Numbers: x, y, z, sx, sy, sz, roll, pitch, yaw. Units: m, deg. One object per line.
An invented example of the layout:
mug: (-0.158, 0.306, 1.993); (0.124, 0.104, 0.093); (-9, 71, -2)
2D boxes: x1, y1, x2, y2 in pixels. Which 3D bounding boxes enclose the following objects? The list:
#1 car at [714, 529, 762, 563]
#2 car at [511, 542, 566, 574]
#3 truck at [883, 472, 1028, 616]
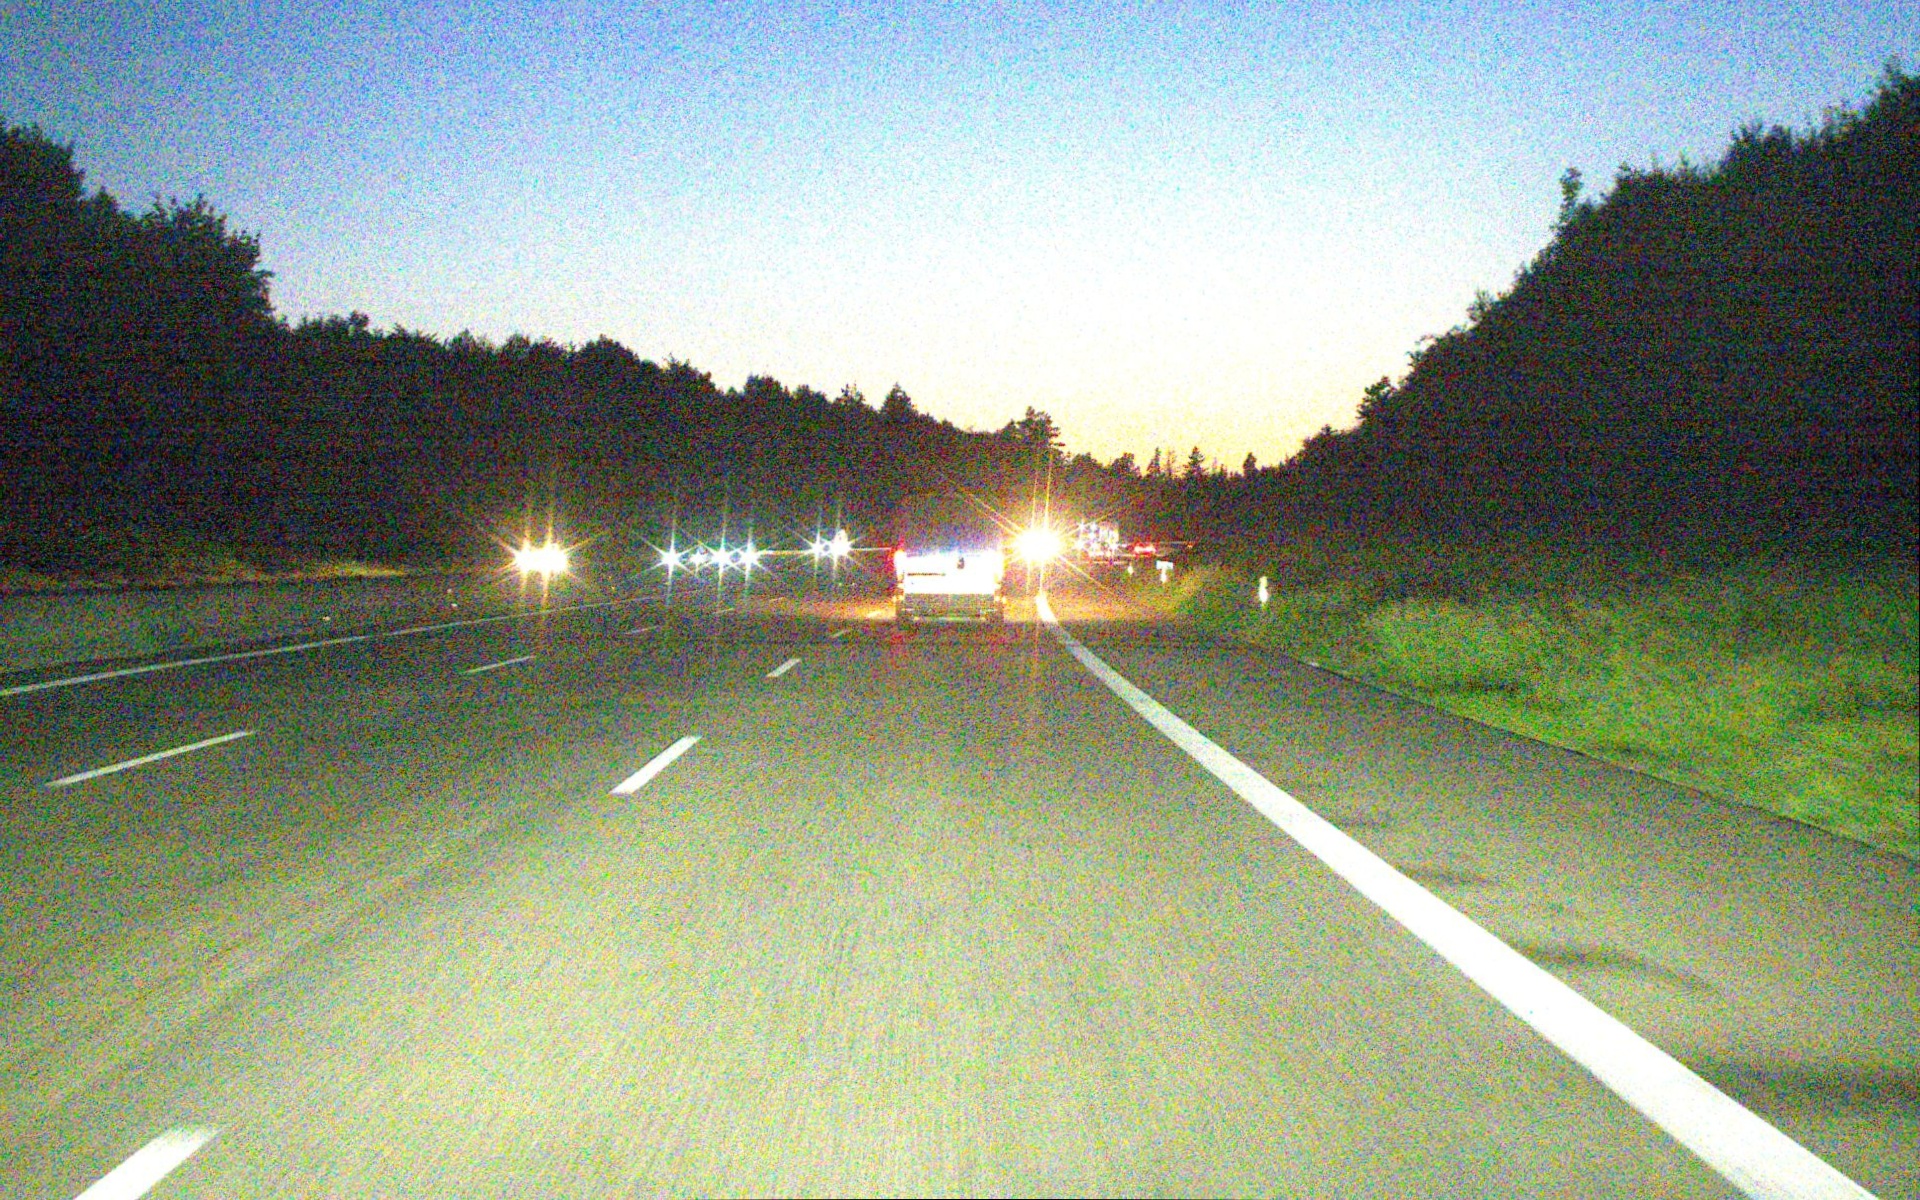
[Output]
car: (-11.755, -2.855, 182.128); (1.994, 1.784, 4.680); (1, 1, 3)
car: (-20.517, -2.035, 167.521); (1.993, 1.503, 4.401); (1, 1, 2)
truck: (-0.180, -1.080, 67.353); (2.630, 2.615, 8.685); (1, 1, -1)
